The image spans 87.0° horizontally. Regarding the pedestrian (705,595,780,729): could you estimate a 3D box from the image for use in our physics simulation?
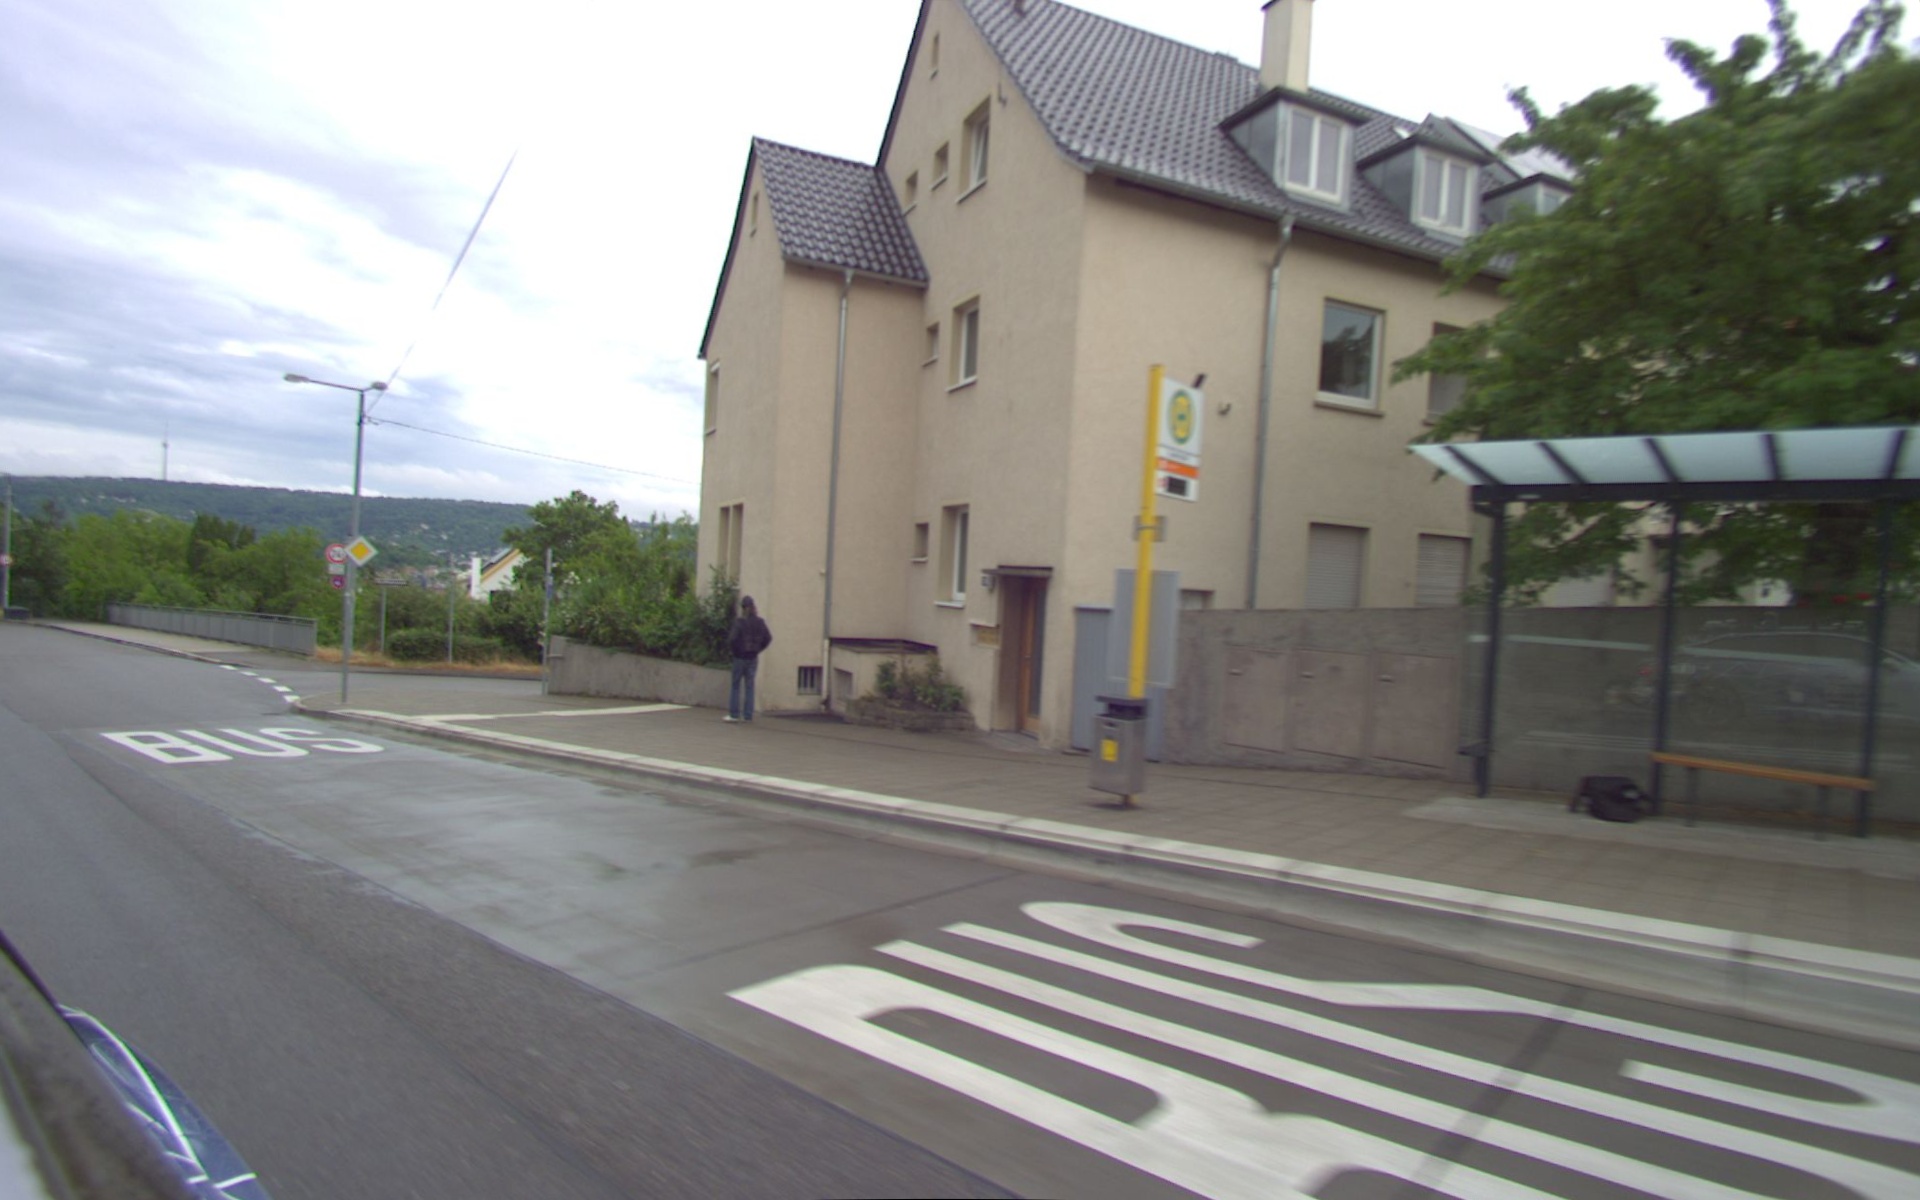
[{"bbox_3d":[-3.158,0.871,14.703,0.728,1.871,0.778,0,0,42],"label":"pedestrian"}]
